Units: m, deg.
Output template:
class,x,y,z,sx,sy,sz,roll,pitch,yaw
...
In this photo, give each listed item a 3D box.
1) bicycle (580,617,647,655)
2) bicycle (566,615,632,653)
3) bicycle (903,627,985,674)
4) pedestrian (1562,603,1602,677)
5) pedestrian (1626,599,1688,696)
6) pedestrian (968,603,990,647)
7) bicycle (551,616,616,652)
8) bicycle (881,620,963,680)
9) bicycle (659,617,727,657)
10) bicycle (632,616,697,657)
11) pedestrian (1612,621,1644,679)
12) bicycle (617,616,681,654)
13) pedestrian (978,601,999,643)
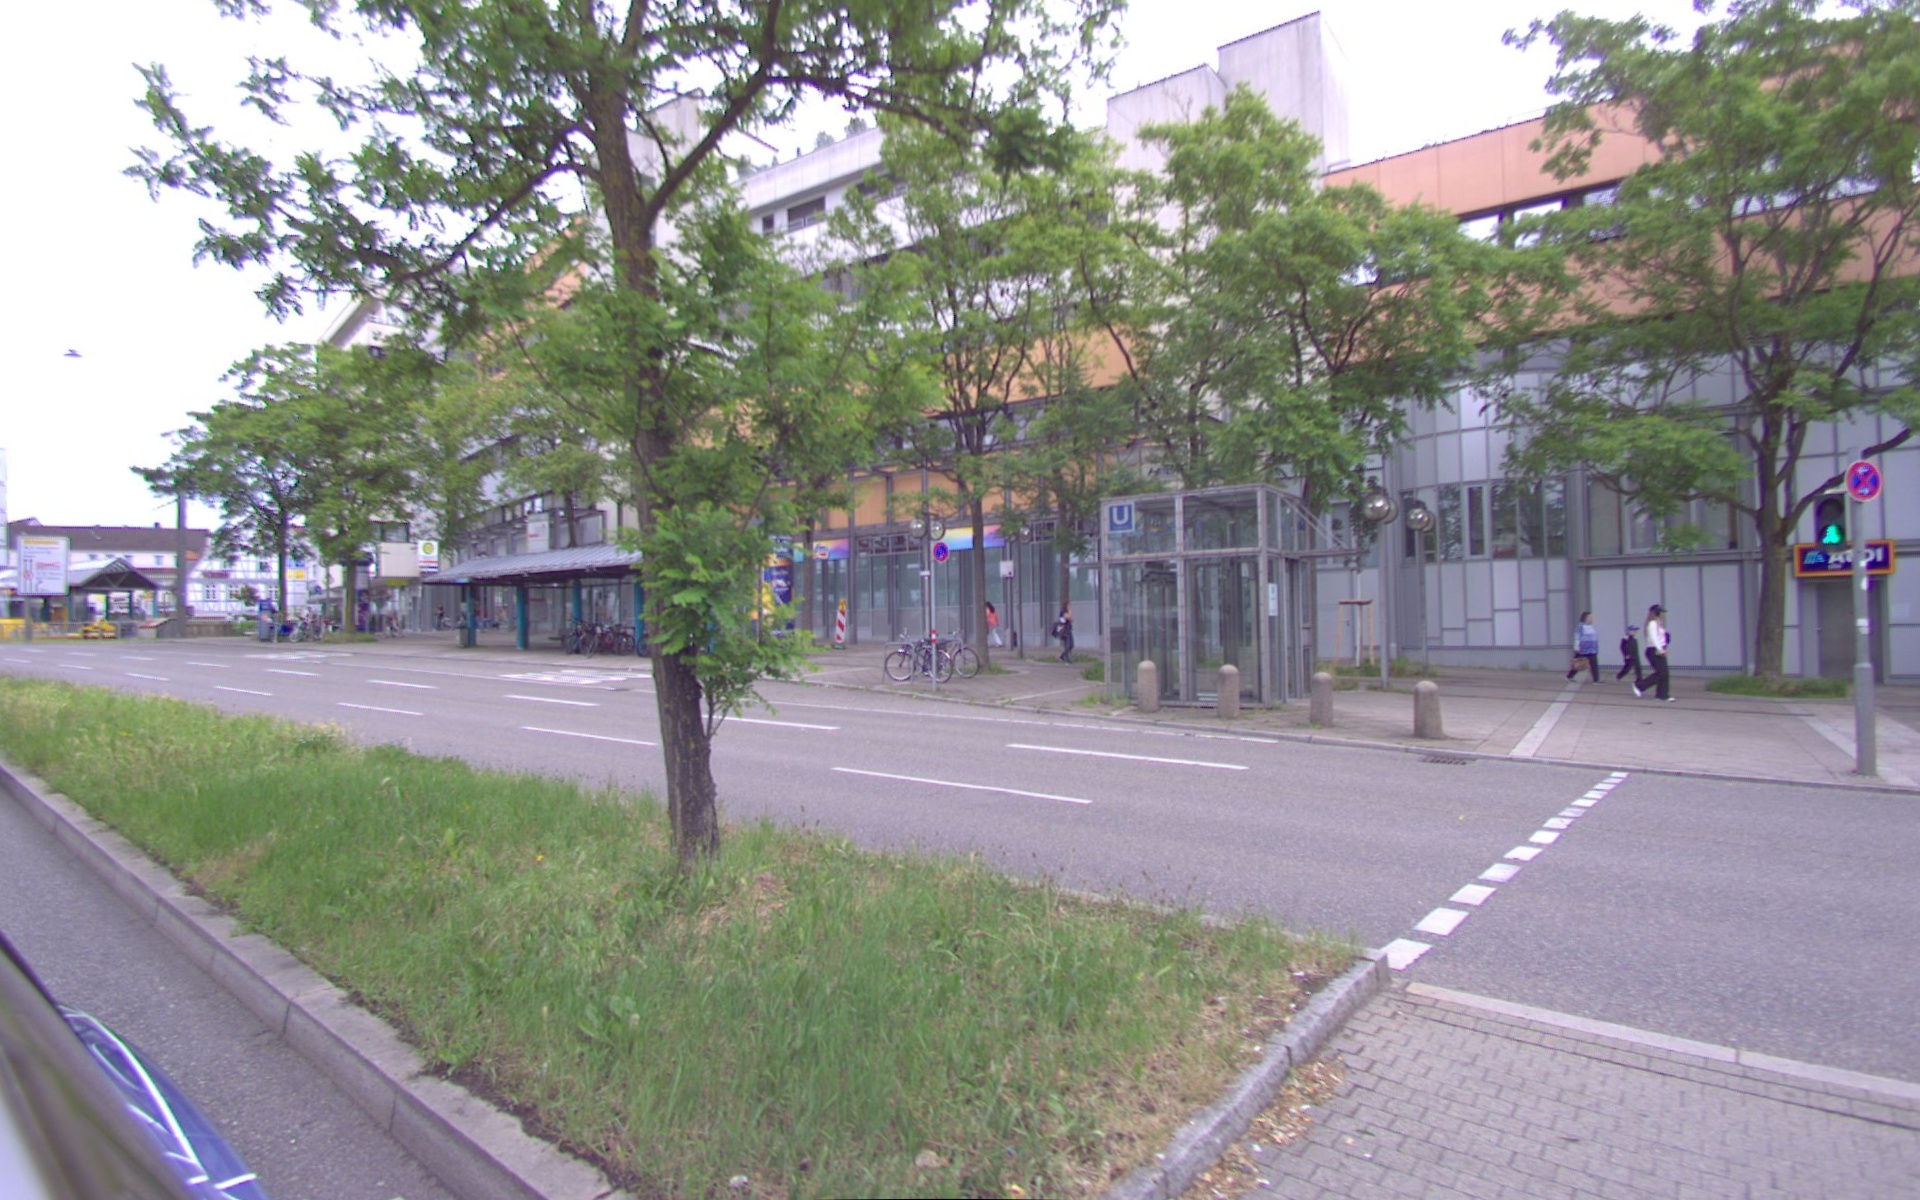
class,x,y,z,sx,sy,sz,roll,pitch,yaw
bicycle,-11.105,1.134,32.466,0.541,1.098,2.044,0,1,39
bicycle,-11.841,1.102,33.243,0.541,1.147,2.044,0,1,39
bicycle,-0.388,1.151,23.411,2.049,1.034,0.514,-1,0,41
pedestrian,13.342,0.846,21.701,0.638,1.558,0.679,-1,-1,39
pedestrian,12.518,0.836,18.167,0.826,1.692,0.769,-1,-1,41
pedestrian,0.641,0.832,34.062,0.580,1.443,0.456,-1,-1,41
bicycle,-12.556,1.113,33.815,0.541,1.098,2.044,0,1,39
bicycle,-0.856,1.075,22.249,1.948,1.234,0.514,-1,0,41
bicycle,-8.111,1.102,30.806,0.541,1.098,2.182,-1,1,34
bicycle,-9.097,1.101,31.233,0.541,1.147,2.047,-1,1,34
pedestrian,14.120,1.039,21.385,0.514,1.201,0.378,-1,-1,41
bicycle,-9.747,1.088,31.798,0.541,1.098,2.047,-1,1,34
pedestrian,0.968,0.750,34.523,0.580,1.443,0.456,-1,-1,41
